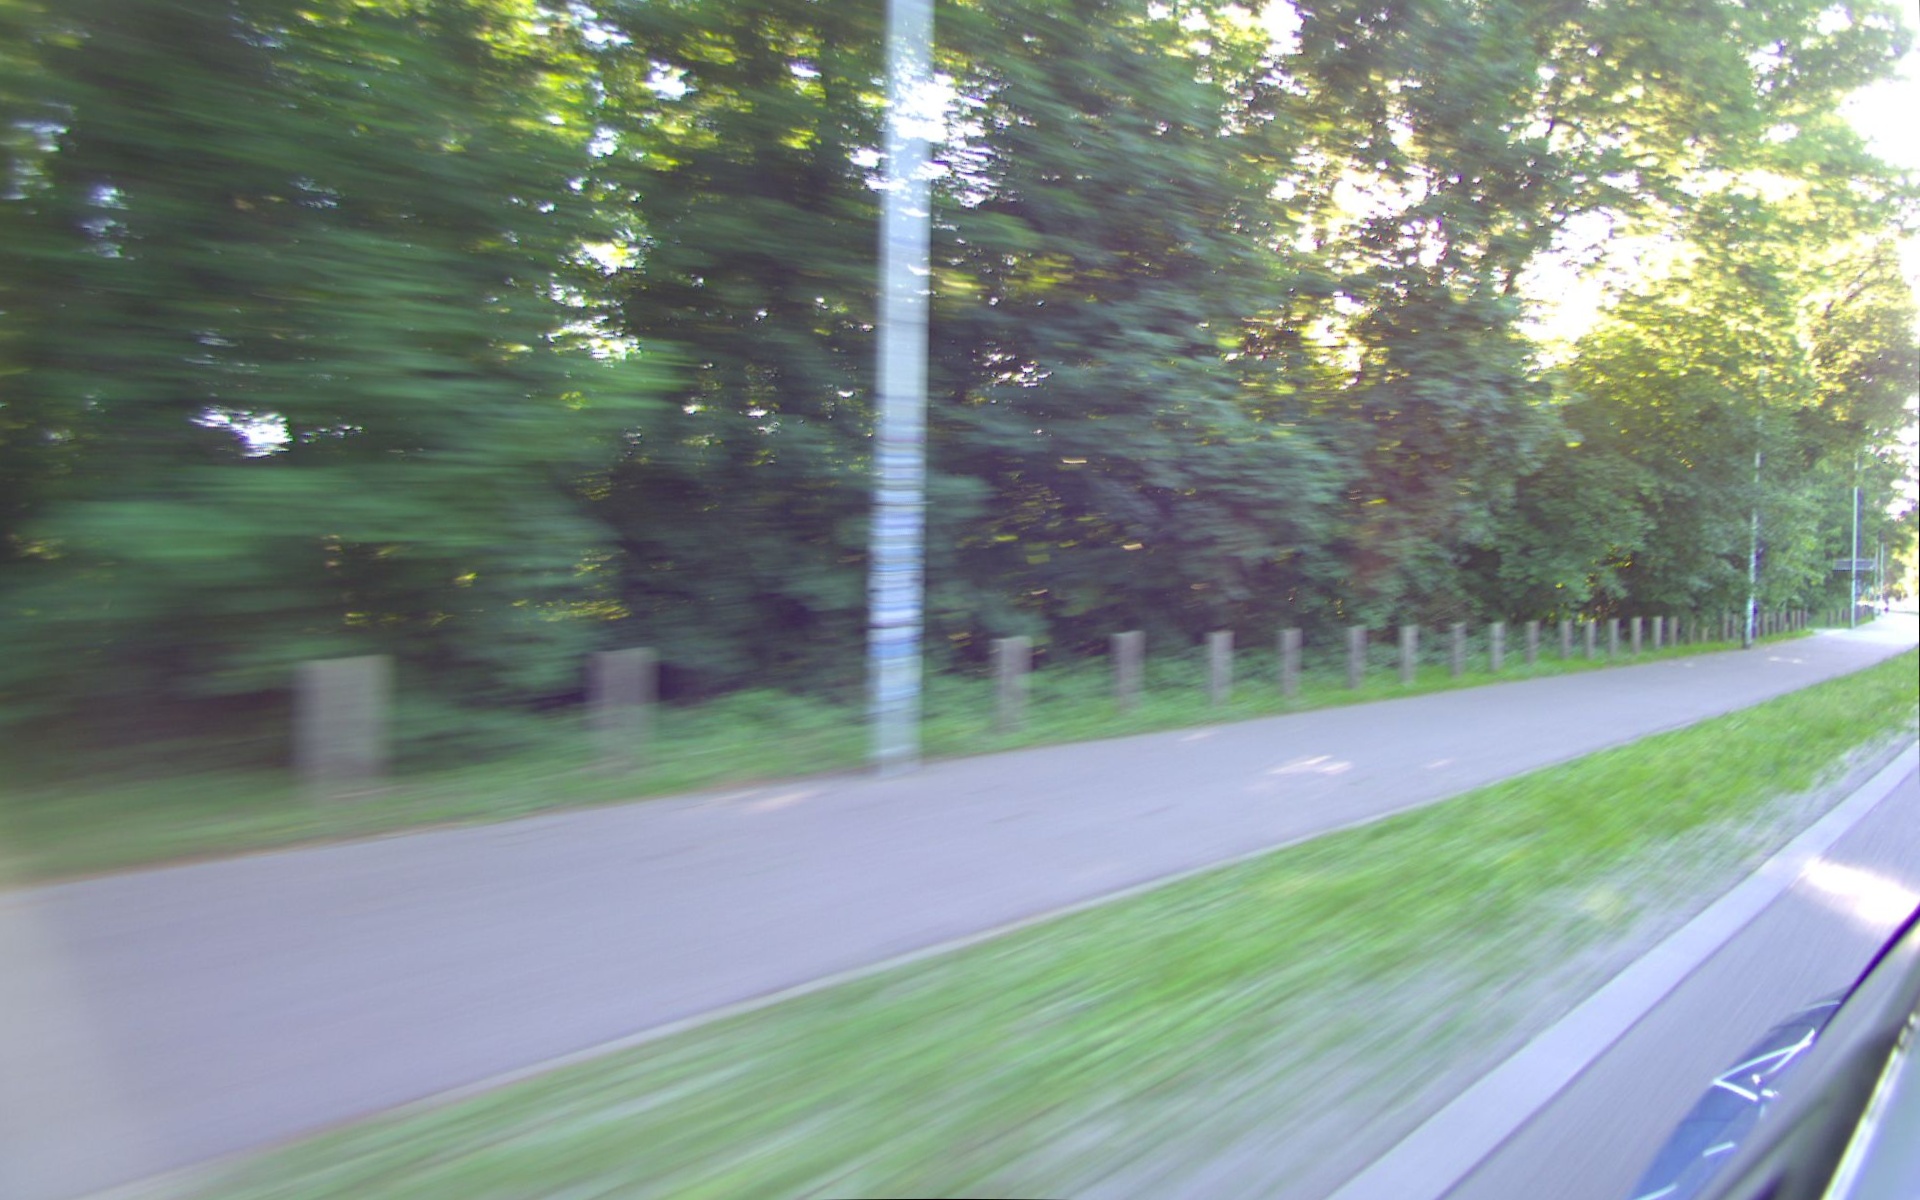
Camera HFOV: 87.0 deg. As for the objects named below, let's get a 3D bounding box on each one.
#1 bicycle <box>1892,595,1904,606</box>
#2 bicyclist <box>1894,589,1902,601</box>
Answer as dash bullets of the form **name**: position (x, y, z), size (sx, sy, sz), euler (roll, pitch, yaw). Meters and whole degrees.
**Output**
- **bicycle**: position (96.539, 0.047, 104.126), size (0.605, 1.070, 2.835), euler (1, 1, 38)
- **bicyclist**: position (96.433, -0.526, 104.007), size (0.512, 1.283, 0.491), euler (1, 1, 38)
